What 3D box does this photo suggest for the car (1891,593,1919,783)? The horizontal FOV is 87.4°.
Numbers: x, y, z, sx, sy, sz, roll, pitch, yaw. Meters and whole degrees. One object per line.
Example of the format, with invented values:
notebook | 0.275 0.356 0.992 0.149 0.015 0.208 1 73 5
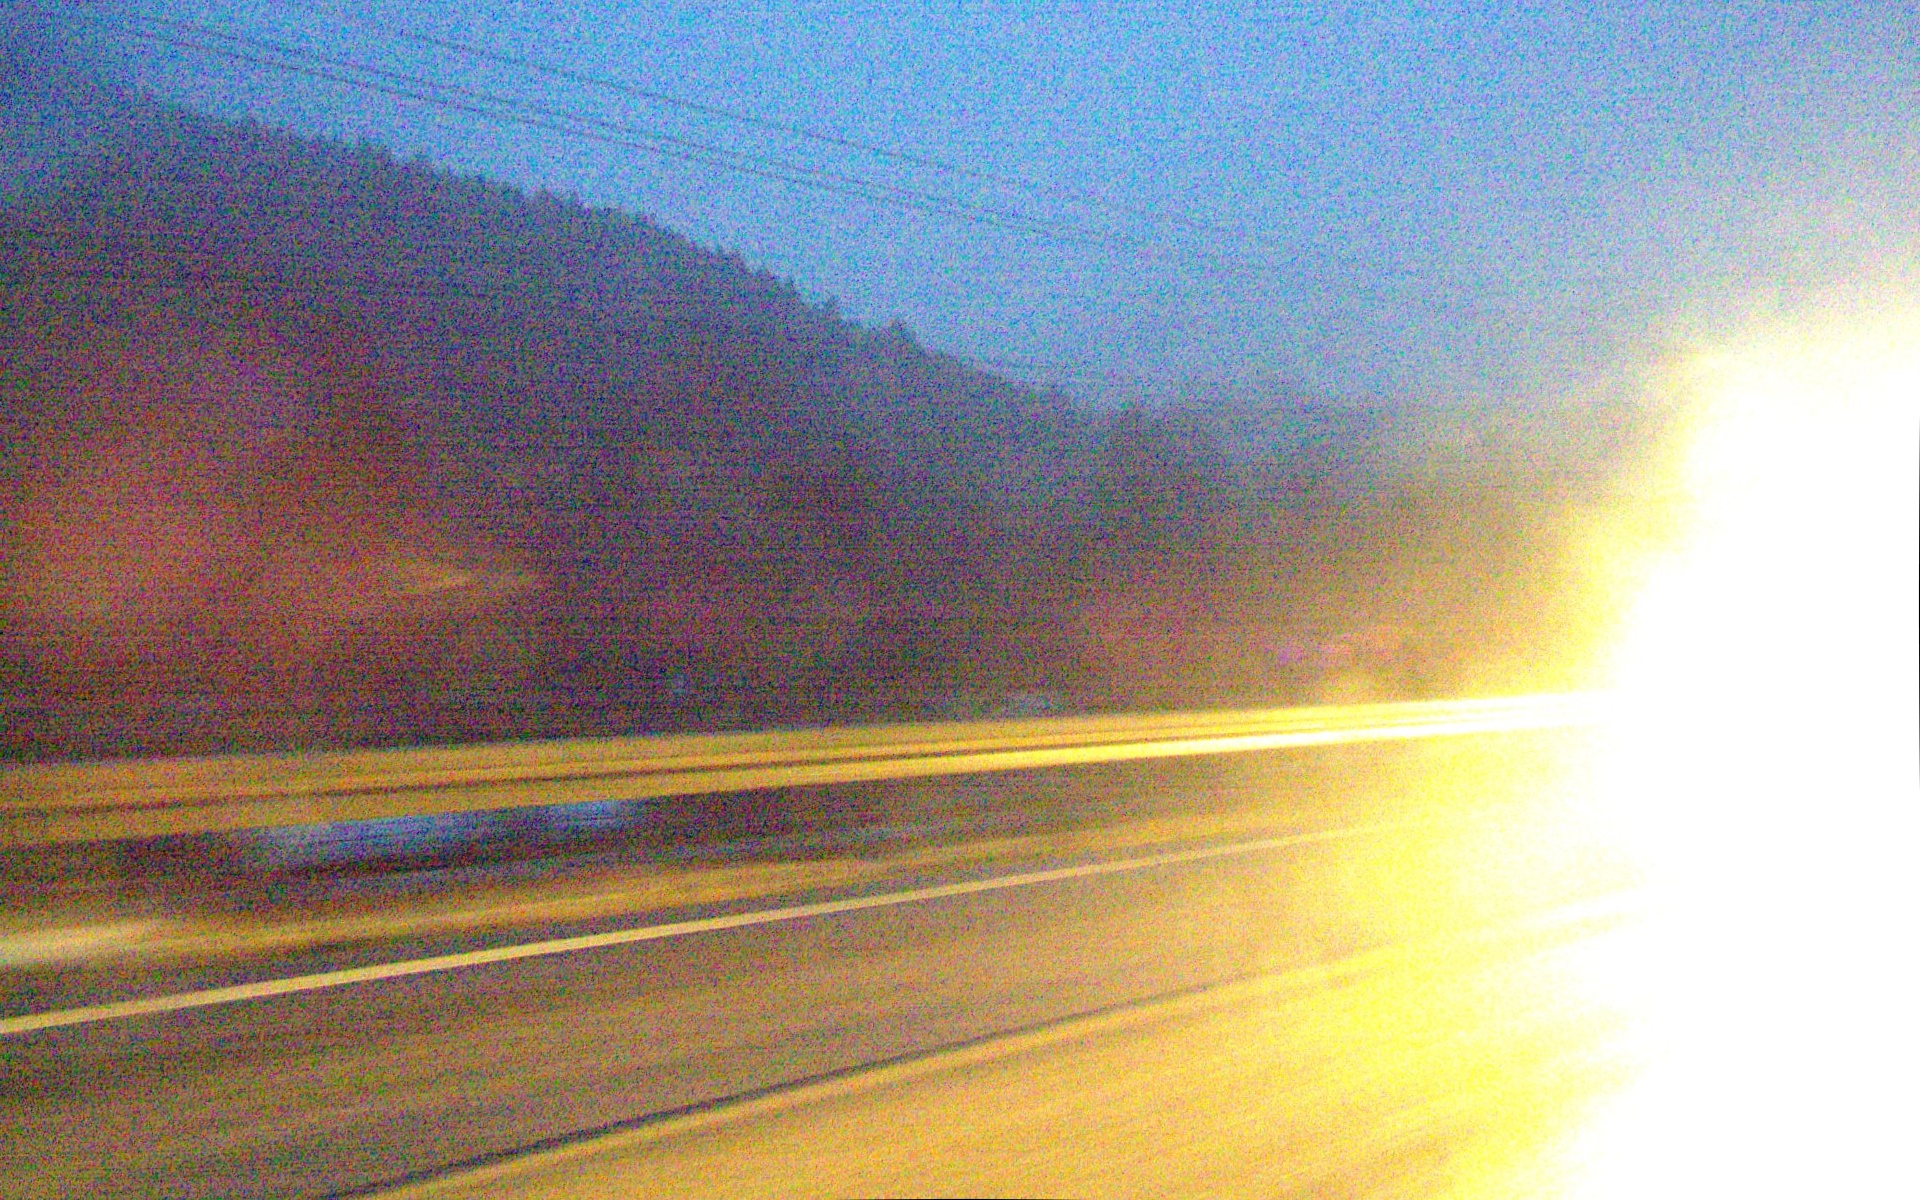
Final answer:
car | 10.640 0.864 9.436 4.010 1.697 1.761 2 1 -32
